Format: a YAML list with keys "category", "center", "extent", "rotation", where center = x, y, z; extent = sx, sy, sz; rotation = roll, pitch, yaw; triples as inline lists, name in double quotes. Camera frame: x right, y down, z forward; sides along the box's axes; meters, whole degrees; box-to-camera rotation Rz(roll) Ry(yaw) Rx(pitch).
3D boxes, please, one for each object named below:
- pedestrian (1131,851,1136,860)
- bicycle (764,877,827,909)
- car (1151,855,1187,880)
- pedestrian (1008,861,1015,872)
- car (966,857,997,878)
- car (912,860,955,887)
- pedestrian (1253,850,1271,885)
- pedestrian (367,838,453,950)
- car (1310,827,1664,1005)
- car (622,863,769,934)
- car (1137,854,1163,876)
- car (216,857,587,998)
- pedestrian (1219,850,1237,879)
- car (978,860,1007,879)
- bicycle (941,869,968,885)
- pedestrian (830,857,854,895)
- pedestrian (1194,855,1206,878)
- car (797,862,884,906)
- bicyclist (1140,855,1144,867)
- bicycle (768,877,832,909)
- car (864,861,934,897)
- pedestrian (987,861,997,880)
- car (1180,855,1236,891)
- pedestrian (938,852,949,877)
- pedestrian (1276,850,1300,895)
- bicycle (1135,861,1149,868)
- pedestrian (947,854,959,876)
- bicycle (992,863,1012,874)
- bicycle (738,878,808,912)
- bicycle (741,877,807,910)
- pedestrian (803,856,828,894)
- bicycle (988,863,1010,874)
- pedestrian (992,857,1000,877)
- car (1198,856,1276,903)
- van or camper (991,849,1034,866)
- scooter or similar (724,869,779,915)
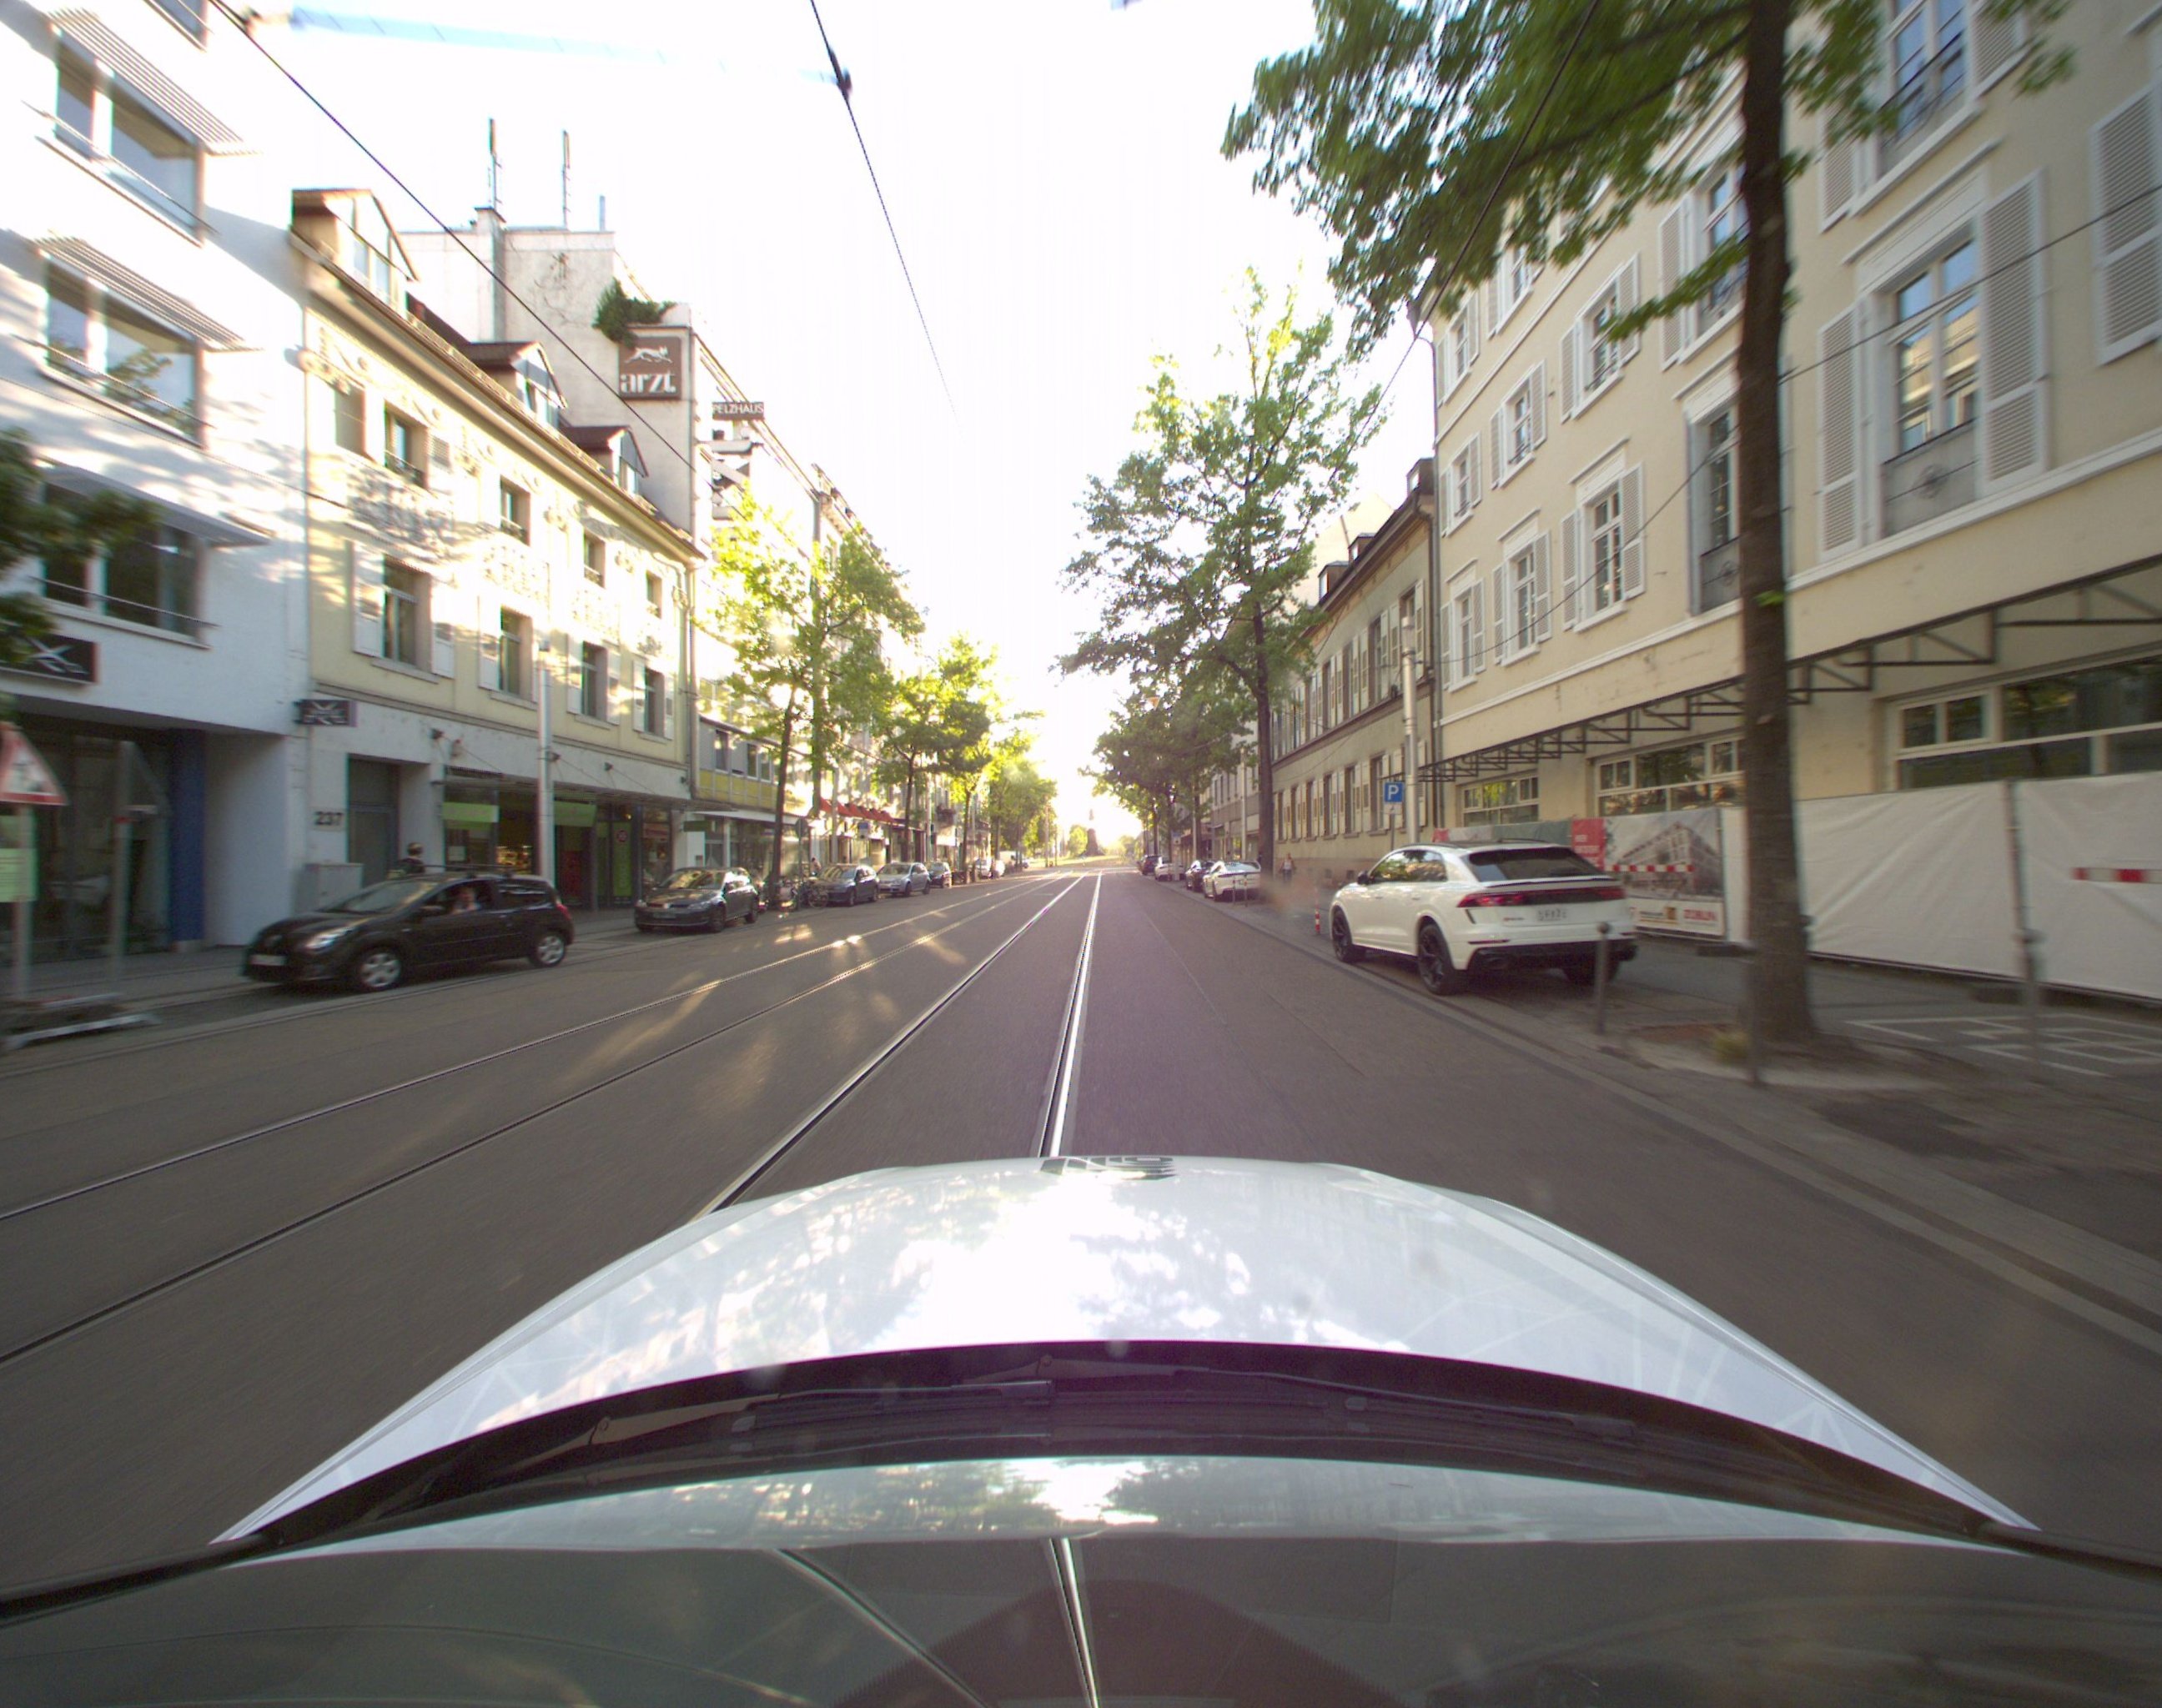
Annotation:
- category: "pedestrian"
  center: [8.938, 0.269, 138.947]
  extent: [0.634, 1.606, 0.771]
  rotation: [-1, 0, -1]
- category: "bicycle"
  center: [-9.307, 1.259, 26.541]
  extent: [1.962, 1.001, 0.331]
  rotation: [-1, -1, 3]
- category: "car"
  center: [5.881, 0.894, 54.974]
  extent: [1.986, 1.498, 4.682]
  rotation: [-4, 0, 2]
- category: "pedestrian"
  center: [-7.627, 1.369, 89.606]
  extent: [0.726, 1.290, 0.856]
  rotation: [0, 0, -1]
- category: "car"
  center: [-8.093, 1.081, 66.521]
  extent: [1.829, 1.580, 4.118]
  rotation: [3, 0, 2]
- category: "car"
  center: [-8.374, 1.085, 46.619]
  extent: [1.660, 1.428, 3.828]
  rotation: [2, 0, 1]
- category: "pedestrian"
  center: [9.081, 0.672, 40.893]
  extent: [0.655, 1.665, 0.888]
  rotation: [-3, -1, 0]
- category: "pedestrian"
  center: [-11.473, 0.665, 13.945]
  extent: [0.657, 1.825, 0.879]
  rotation: [2, 0, 2]
- category: "car"
  center: [4.786, 0.651, 10.669]
  extent: [1.992, 1.688, 4.964]
  rotation: [-3, -1, -2]
- category: "car"
  center: [-9.157, 0.991, 19.764]
  extent: [1.789, 1.490, 4.235]
  rotation: [1, 0, -5]
- category: "car"
  center: [6.100, 0.984, 72.314]
  extent: [1.931, 1.759, 4.681]
  rotation: [-4, 0, 1]
- category: "car"
  center: [-9.256, 0.864, 11.520]
  extent: [1.618, 1.616, 3.724]
  rotation: [1, 0, 16]
- category: "pedestrian"
  center: [9.272, 0.634, 51.299]
  extent: [0.855, 1.753, 0.933]
  rotation: [-4, 0, 1]
- category: "car"
  center: [-7.723, 1.330, 71.693]
  extent: [1.829, 1.580, 4.704]
  rotation: [3, 0, 2]
- category: "bicycle"
  center: [-7.900, 1.442, 50.932]
  extent: [1.607, 0.965, 0.433]
  rotation: [1, 0, 6]
- category: "pedestrian"
  center: [-10.807, 0.983, 36.889]
  extent: [0.841, 1.693, 0.740]
  rotation: [-1, 0, 0]
- category: "pedestrian"
  center: [8.743, 0.910, 59.893]
  extent: [0.641, 1.670, 0.786]
  rotation: [-4, 0, 1]
- category: "car"
  center: [-8.624, 1.027, 29.610]
  extent: [1.705, 1.461, 4.488]
  rotation: [1, 0, 2]
- category: "bicyclist"
  center: [7.700, 0.895, 102.767]
  extent: [0.534, 1.438, 0.367]
  rotation: [-1, 0, 1]
- category: "bicycle"
  center: [-9.018, 1.255, 26.149]
  extent: [1.962, 1.001, 0.331]
  rotation: [-1, -1, 3]
- category: "car"
  center: [-7.977, 1.057, 36.122]
  extent: [1.758, 1.497, 4.182]
  rotation: [-1, -1, 6]
- category: "pedestrian"
  center: [-6.915, 1.271, 63.260]
  extent: [0.617, 1.509, 0.730]
  rotation: [-1, -1, 2]
- category: "car"
  center: [5.737, 0.830, 37.254]
  extent: [1.826, 1.478, 4.762]
  rotation: [-3, 0, 1]
- category: "pedestrian"
  center: [-11.172, 0.882, 66.209]
  extent: [0.719, 2.014, 0.643]
  rotation: [-1, -1, 1]
- category: "pedestrian"
  center: [7.351, 0.662, 28.933]
  extent: [0.646, 1.573, 0.799]
  rotation: [-1, -1, 1]
- category: "bicycle"
  center: [7.726, 1.365, 102.754]
  extent: [1.725, 0.864, 0.367]
  rotation: [-1, 0, 0]
- category: "pedestrian"
  center: [-10.394, 0.868, 66.191]
  extent: [0.719, 1.760, 1.090]
  rotation: [-1, 0, 1]
- category: "bicycle"
  center: [-8.084, 1.481, 83.315]
  extent: [2.014, 1.105, 0.501]
  rotation: [1, -1, 3]
- category: "bicycle"
  center: [-9.246, 1.235, 24.459]
  extent: [1.962, 1.001, 0.331]
  rotation: [-1, -1, 3]
- category: "bicycle"
  center: [-9.696, 1.246, 25.718]
  extent: [1.961, 1.001, 0.420]
  rotation: [-1, -1, 5]
- category: "pedestrian"
  center: [-11.943, 0.940, 36.695]
  extent: [0.786, 1.693, 0.914]
  rotation: [-1, 0, 0]
- category: "bicycle"
  center: [-8.146, 1.438, 80.624]
  extent: [2.117, 1.105, 0.497]
  rotation: [1, -2, -24]
- category: "pedestrian"
  center: [-6.660, 1.025, 64.124]
  extent: [0.519, 1.569, 0.634]
  rotation: [-1, -2, 2]
- category: "car"
  center: [5.430, 0.826, 28.895]
  extent: [1.905, 1.420, 4.890]
  rotation: [-3, 0, 2]
- category: "van or camper"
  center: [-9.973, 0.528, 117.527]
  extent: [6.240, 2.472, 2.632]
  rotation: [-1, 0, 42]
- category: "scooter or similar"
  center: [-9.527, 1.099, 23.563]
  extent: [1.412, 1.270, 0.375]
  rotation: [1, 0, 5]
